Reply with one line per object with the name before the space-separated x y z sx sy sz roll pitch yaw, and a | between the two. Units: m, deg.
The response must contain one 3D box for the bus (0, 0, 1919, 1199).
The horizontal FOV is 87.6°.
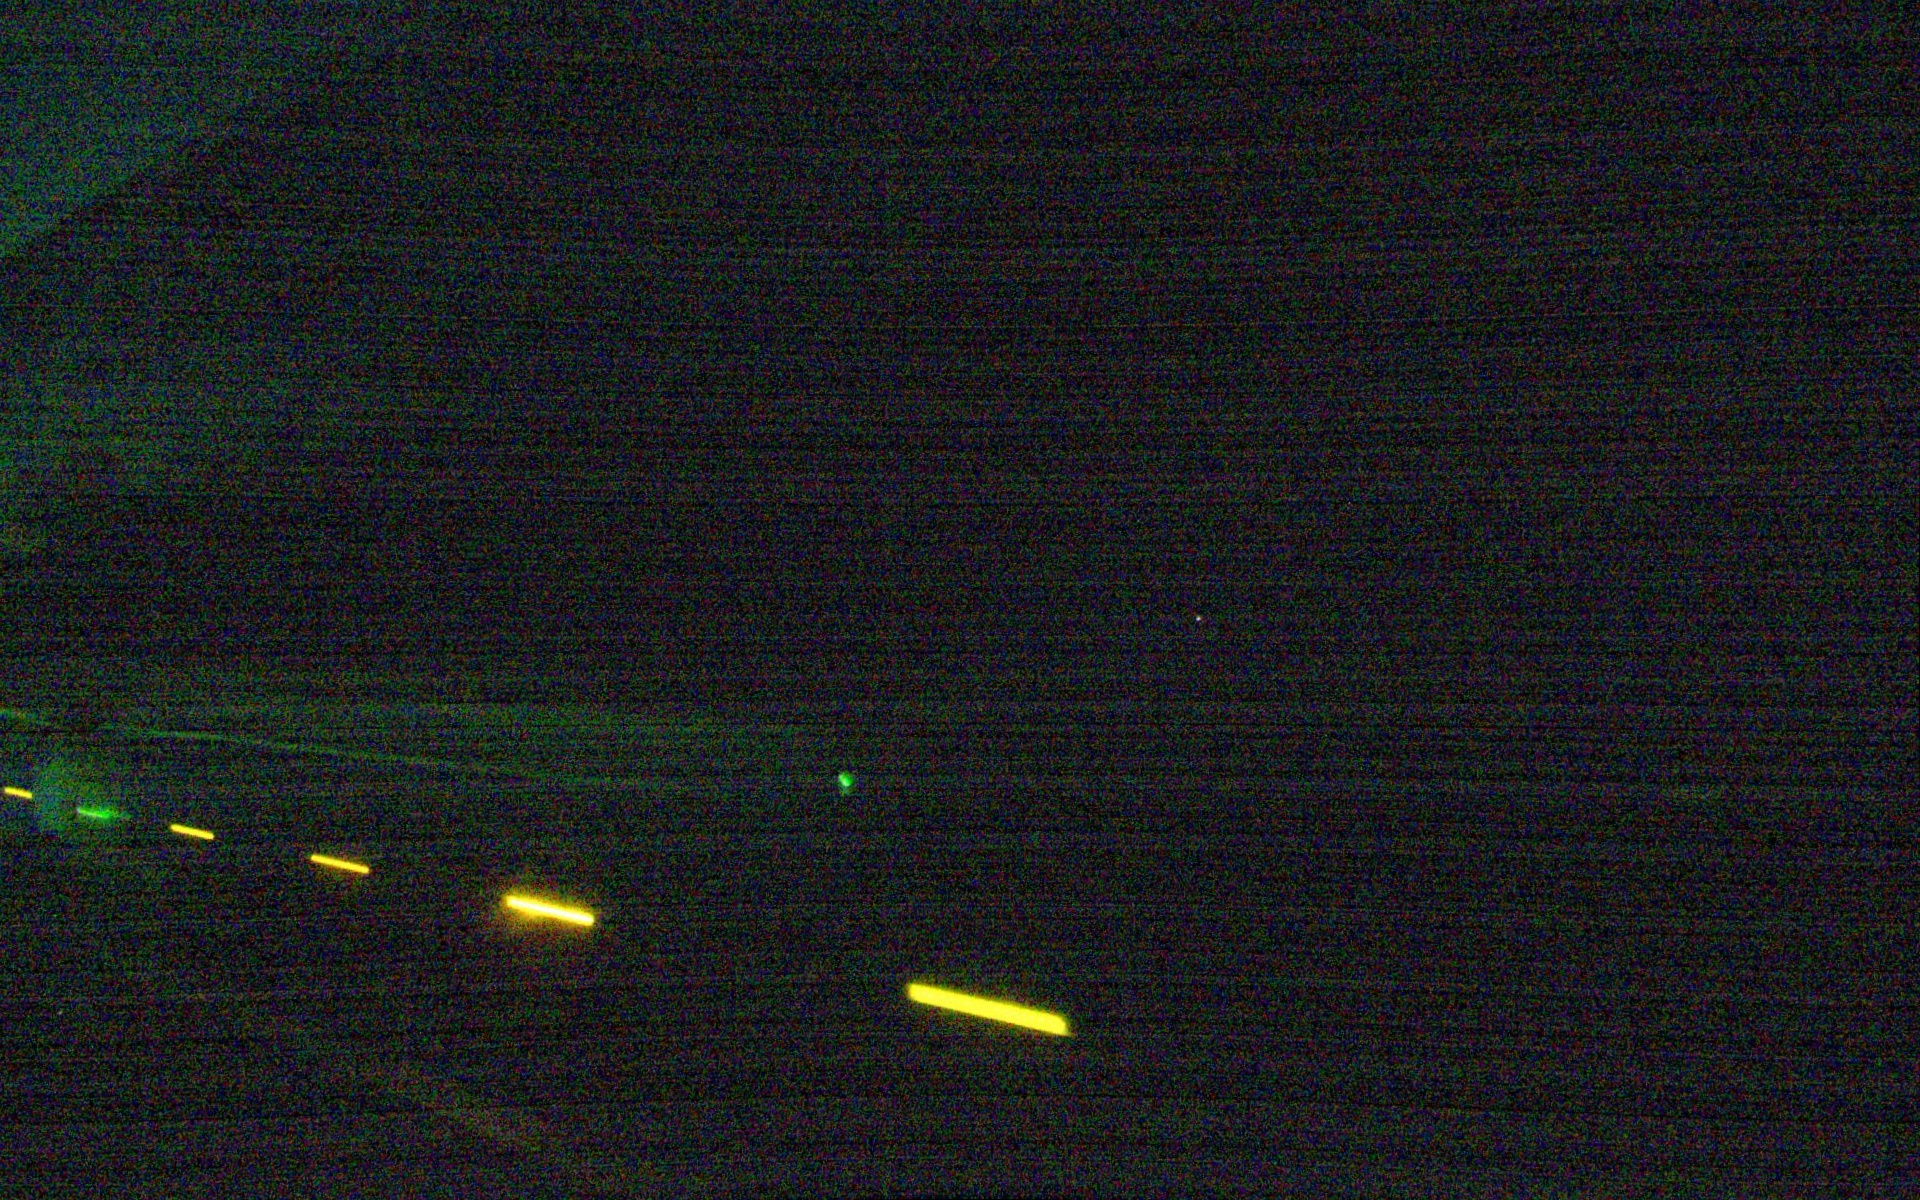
bus | -0.893 -0.493 4.335 14.491 4.044 2.648 -1 -2 32
